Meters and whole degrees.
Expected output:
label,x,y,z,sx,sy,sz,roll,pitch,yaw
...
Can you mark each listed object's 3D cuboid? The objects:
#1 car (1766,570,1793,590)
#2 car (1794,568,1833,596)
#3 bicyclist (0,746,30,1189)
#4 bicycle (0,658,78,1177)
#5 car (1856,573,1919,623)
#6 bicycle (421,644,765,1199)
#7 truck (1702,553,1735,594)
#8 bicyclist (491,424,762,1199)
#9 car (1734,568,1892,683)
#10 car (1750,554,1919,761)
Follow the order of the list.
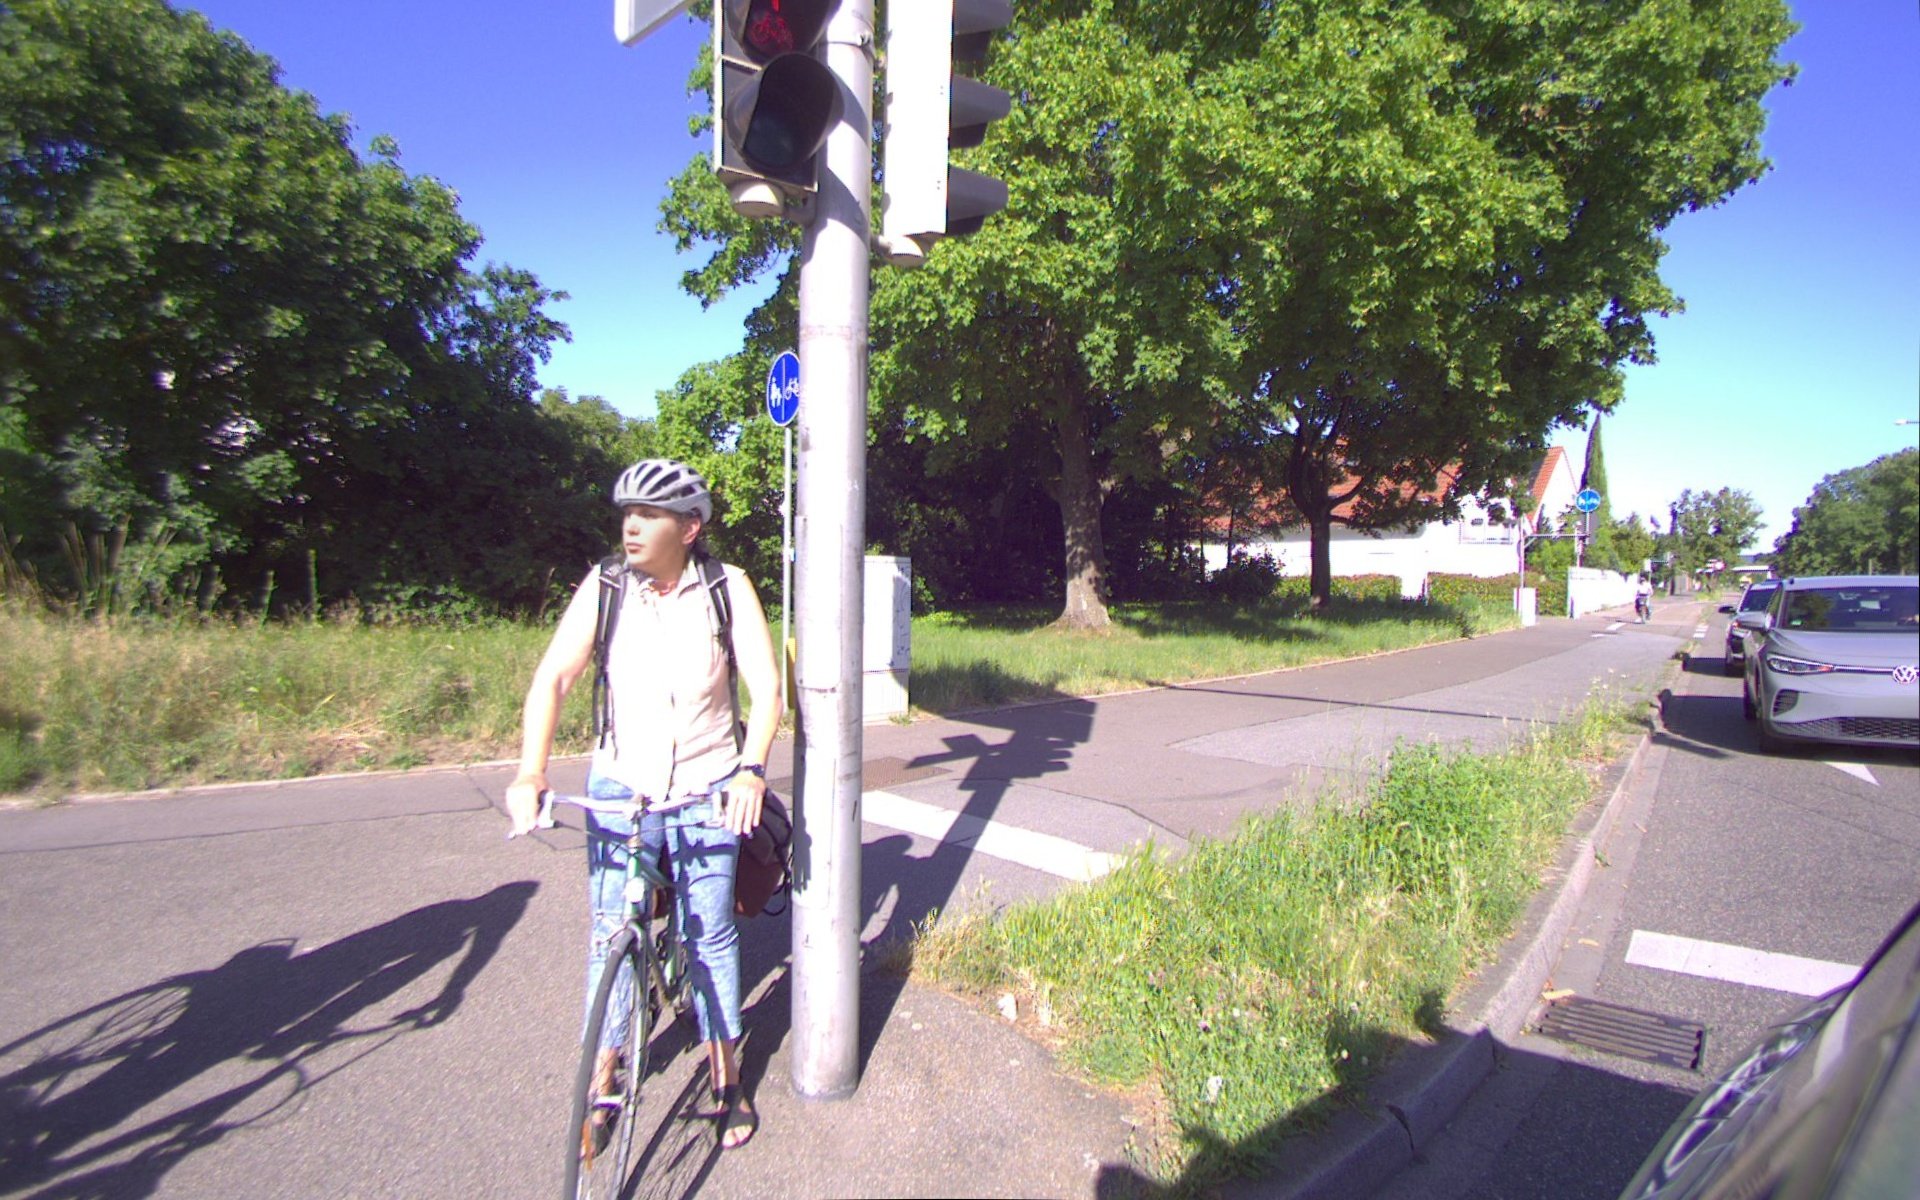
label,x,y,z,sx,sy,sz,roll,pitch,yaw
car,78.456,-1.945,96.945,1.831,1.821,3.859,-2,0,38
car,59.072,-1.244,70.082,1.789,1.821,3.859,-2,0,38
bicyclist,-2.221,0.479,1.820,0.532,1.654,0.809,-3,5,-28
bicycle,-2.209,0.795,1.778,0.520,1.089,1.874,-3,6,-28
car,30.557,-0.093,32.919,1.911,1.504,4.303,-1,0,39
bicycle,-0.790,0.777,2.610,0.520,1.089,1.875,-1,5,-12
truck,61.247,-2.150,81.695,1.988,3.115,5.730,-2,0,37
bicyclist,-0.779,0.458,2.510,0.516,1.716,0.587,-1,4,-12
car,13.398,0.326,16.100,1.683,1.593,4.065,-2,0,38
car,9.009,0.416,9.825,1.984,1.661,4.303,-2,0,39
